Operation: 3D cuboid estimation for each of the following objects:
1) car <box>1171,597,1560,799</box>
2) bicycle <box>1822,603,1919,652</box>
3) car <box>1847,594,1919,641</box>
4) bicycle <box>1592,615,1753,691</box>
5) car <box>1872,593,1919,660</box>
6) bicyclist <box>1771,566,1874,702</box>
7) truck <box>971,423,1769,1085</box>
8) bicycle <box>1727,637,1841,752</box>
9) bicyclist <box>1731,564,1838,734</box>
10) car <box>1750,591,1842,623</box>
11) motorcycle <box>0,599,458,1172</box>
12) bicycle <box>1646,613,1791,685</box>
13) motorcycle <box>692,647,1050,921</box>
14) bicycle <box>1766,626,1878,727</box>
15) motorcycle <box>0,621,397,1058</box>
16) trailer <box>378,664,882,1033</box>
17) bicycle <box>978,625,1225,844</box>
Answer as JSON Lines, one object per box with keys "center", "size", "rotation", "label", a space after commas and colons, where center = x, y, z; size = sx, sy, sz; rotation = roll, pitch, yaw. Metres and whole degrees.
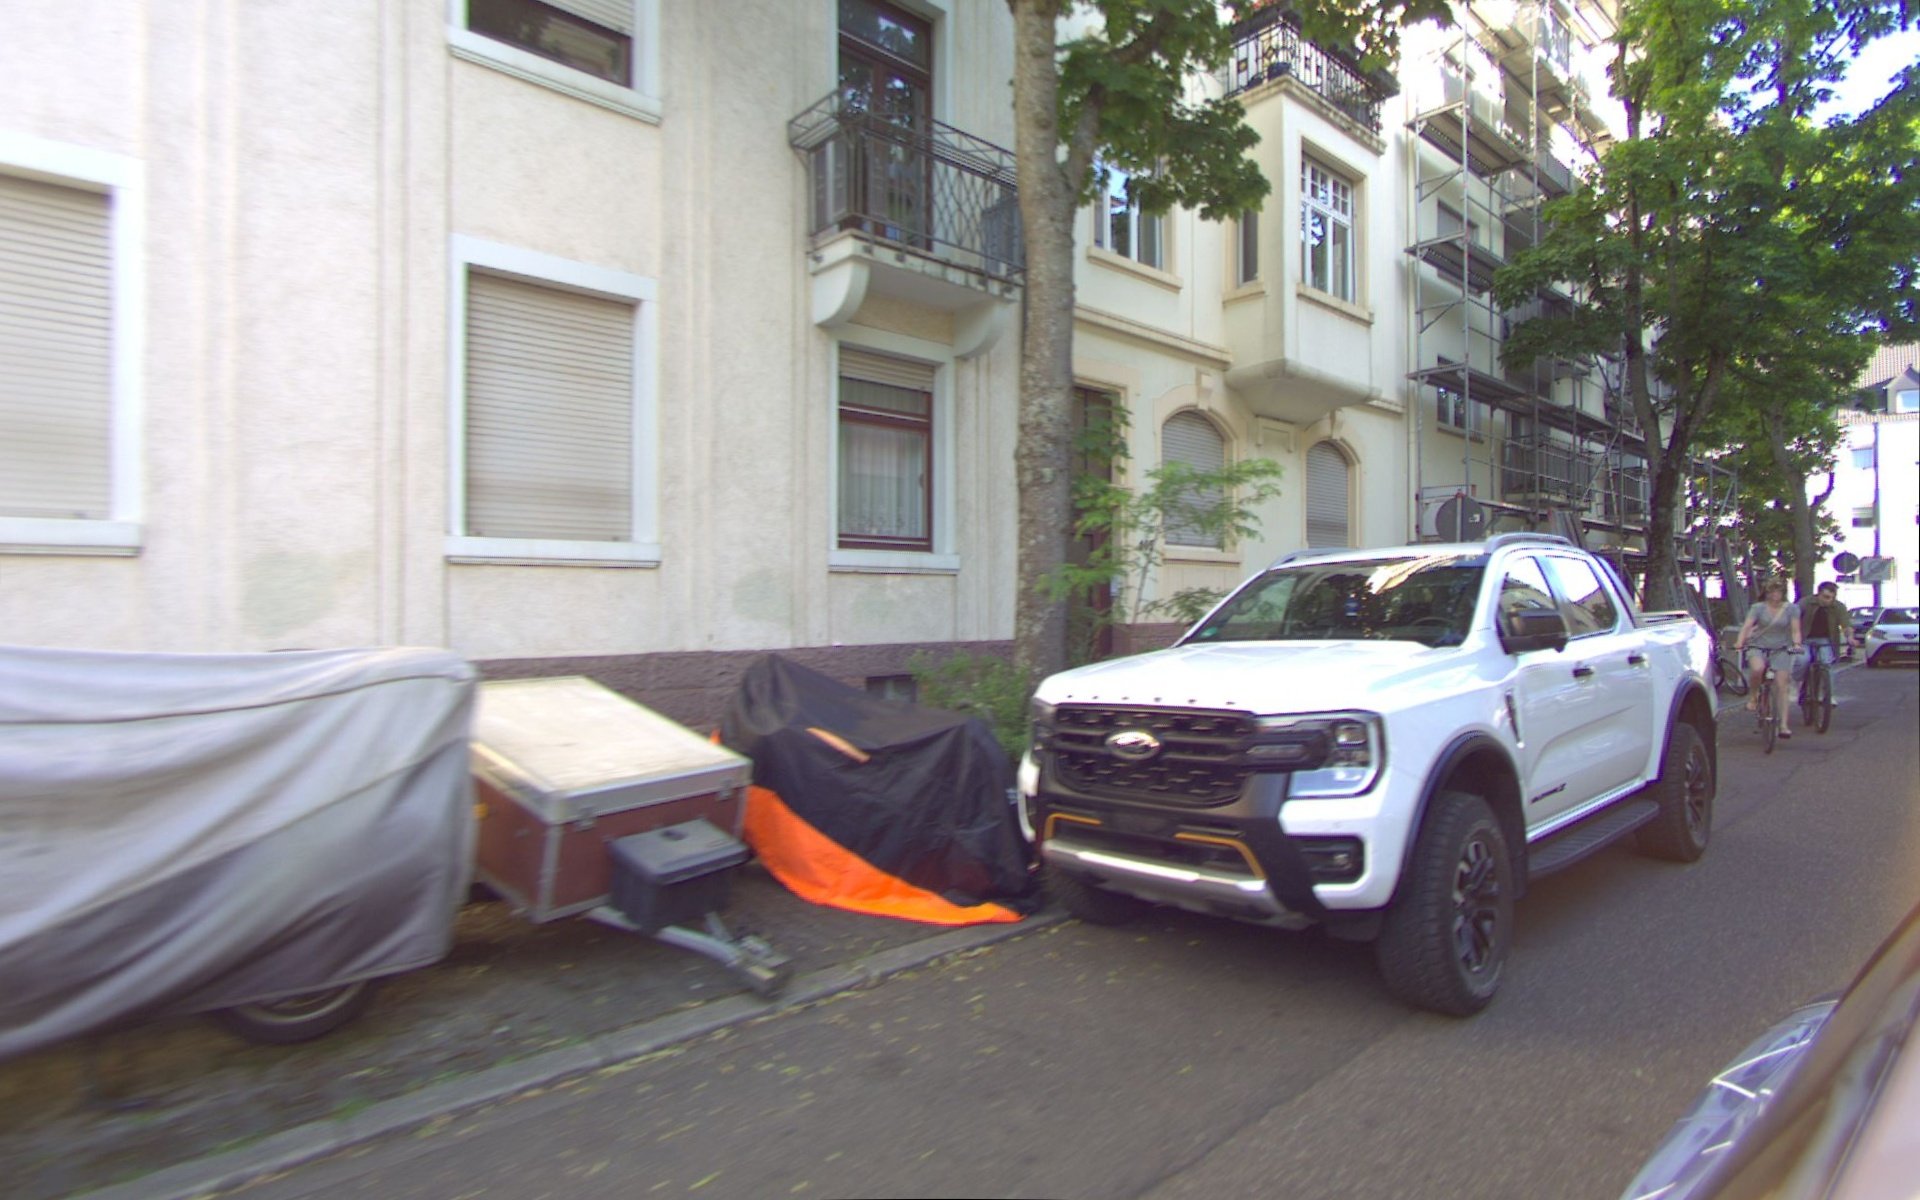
{"center": [3.982, 0.717, 9.539], "size": [4.354, 1.440, 1.682], "rotation": [0, 1, -42], "label": "car"}
{"center": [24.876, 0.726, 27.598], "size": [1.959, 1.169, 0.742], "rotation": [4, 3, 34], "label": "bicycle"}
{"center": [31.969, 0.559, 34.818], "size": [4.430, 1.425, 1.664], "rotation": [0, 3, -43], "label": "car"}
{"center": [11.495, 0.824, 16.402], "size": [0.733, 1.136, 1.984], "rotation": [0, -1, -31], "label": "bicycle"}
{"center": [23.728, 0.594, 24.609], "size": [3.894, 1.555, 1.805], "rotation": [0, -1, -41], "label": "car"}
{"center": [10.535, 0.404, 12.365], "size": [0.964, 1.585, 0.756], "rotation": [0, -2, -40], "label": "bicyclist"}
{"center": [2.684, 0.454, 5.537], "size": [5.445, 1.974, 1.831], "rotation": [0, -1, -42], "label": "truck"}
{"center": [8.785, 0.964, 10.767], "size": [0.706, 1.059, 1.828], "rotation": [-5, -3, 45], "label": "bicycle"}
{"center": [8.782, 0.505, 10.773], "size": [0.714, 1.711, 0.966], "rotation": [-4, -3, 44], "label": "bicyclist"}
{"center": [44.200, 0.381, 53.564], "size": [3.690, 1.627, 1.625], "rotation": [-2, -1, 41], "label": "car"}
{"center": [-2.785, 0.759, 3.076], "size": [2.100, 1.505, 0.931], "rotation": [0, -1, -40], "label": "motorcycle"}
{"center": [12.763, 0.790, 17.117], "size": [0.732, 1.136, 1.933], "rotation": [0, -1, -12], "label": "bicycle"}
{"center": [-0.432, 0.893, 5.267], "size": [1.736, 1.256, 0.700], "rotation": [-1, -1, 10], "label": "motorcycle"}
{"center": [10.556, 0.892, 12.372], "size": [1.825, 1.073, 0.740], "rotation": [-1, -1, -41], "label": "bicycle"}
{"center": [-3.424, 0.818, 3.772], "size": [2.195, 1.434, 0.862], "rotation": [0, -1, -41], "label": "motorcycle"}
{"center": [-1.490, 0.901, 4.459], "size": [2.073, 1.126, 1.102], "rotation": [-1, -1, 35], "label": "trailer"}
{"center": [0.944, 0.855, 7.146], "size": [0.576, 1.322, 1.760], "rotation": [0, 0, -43], "label": "bicycle"}
